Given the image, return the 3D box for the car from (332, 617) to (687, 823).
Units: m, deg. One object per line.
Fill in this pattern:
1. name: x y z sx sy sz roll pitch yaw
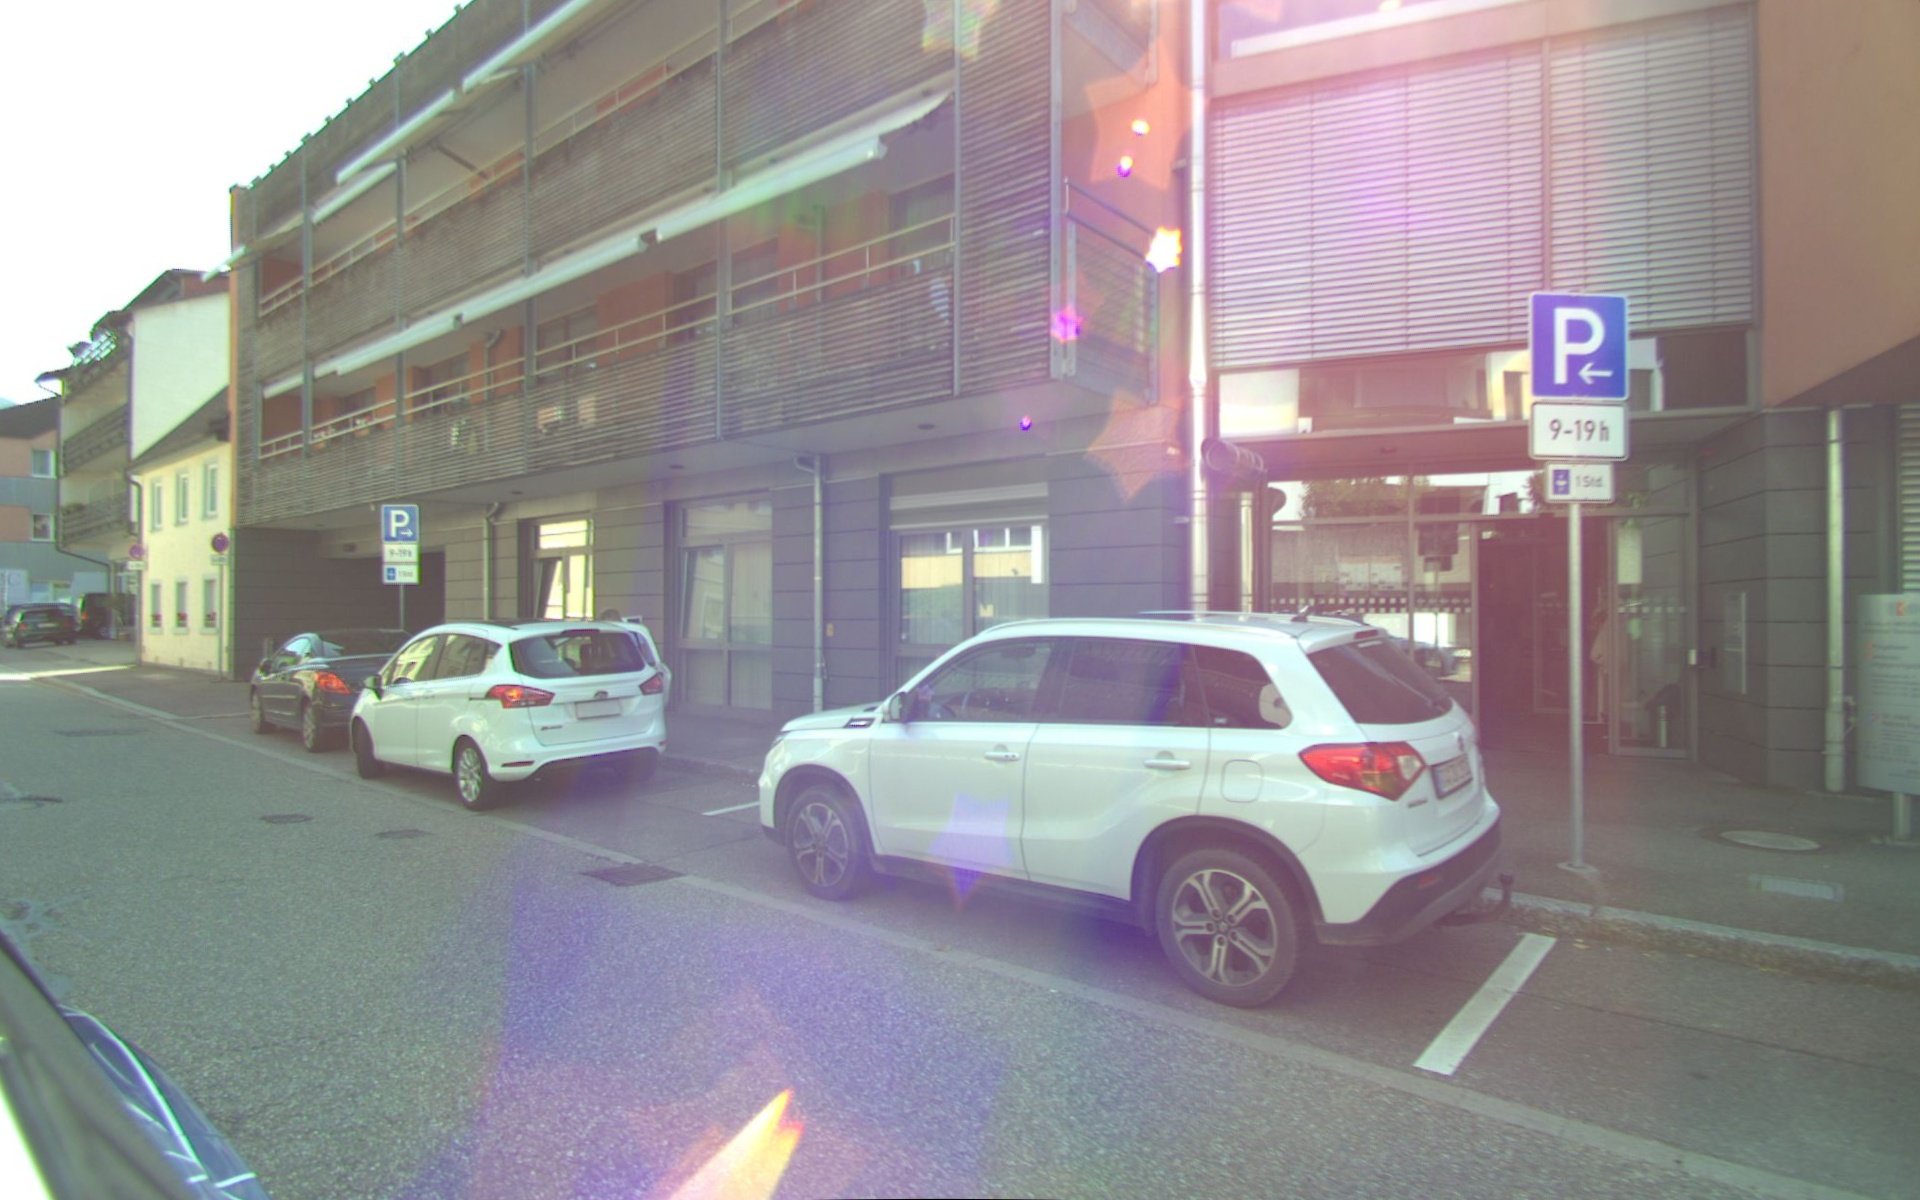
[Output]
1. car: -4.419 0.982 9.699 3.762 1.567 1.657 -2 -1 41

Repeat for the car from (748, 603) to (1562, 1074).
1. car: 0.768 0.859 5.384 3.946 1.601 1.657 -2 -1 41

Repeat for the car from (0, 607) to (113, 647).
1. car: -40.222 1.196 44.722 1.829 1.697 3.955 -3 -3 33

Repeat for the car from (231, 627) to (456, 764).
1. car: -8.035 1.113 13.068 3.593 1.427 1.532 -1 0 43

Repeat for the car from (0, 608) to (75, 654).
1. car: -34.794 1.138 38.027 3.887 1.587 1.764 -1 1 41
